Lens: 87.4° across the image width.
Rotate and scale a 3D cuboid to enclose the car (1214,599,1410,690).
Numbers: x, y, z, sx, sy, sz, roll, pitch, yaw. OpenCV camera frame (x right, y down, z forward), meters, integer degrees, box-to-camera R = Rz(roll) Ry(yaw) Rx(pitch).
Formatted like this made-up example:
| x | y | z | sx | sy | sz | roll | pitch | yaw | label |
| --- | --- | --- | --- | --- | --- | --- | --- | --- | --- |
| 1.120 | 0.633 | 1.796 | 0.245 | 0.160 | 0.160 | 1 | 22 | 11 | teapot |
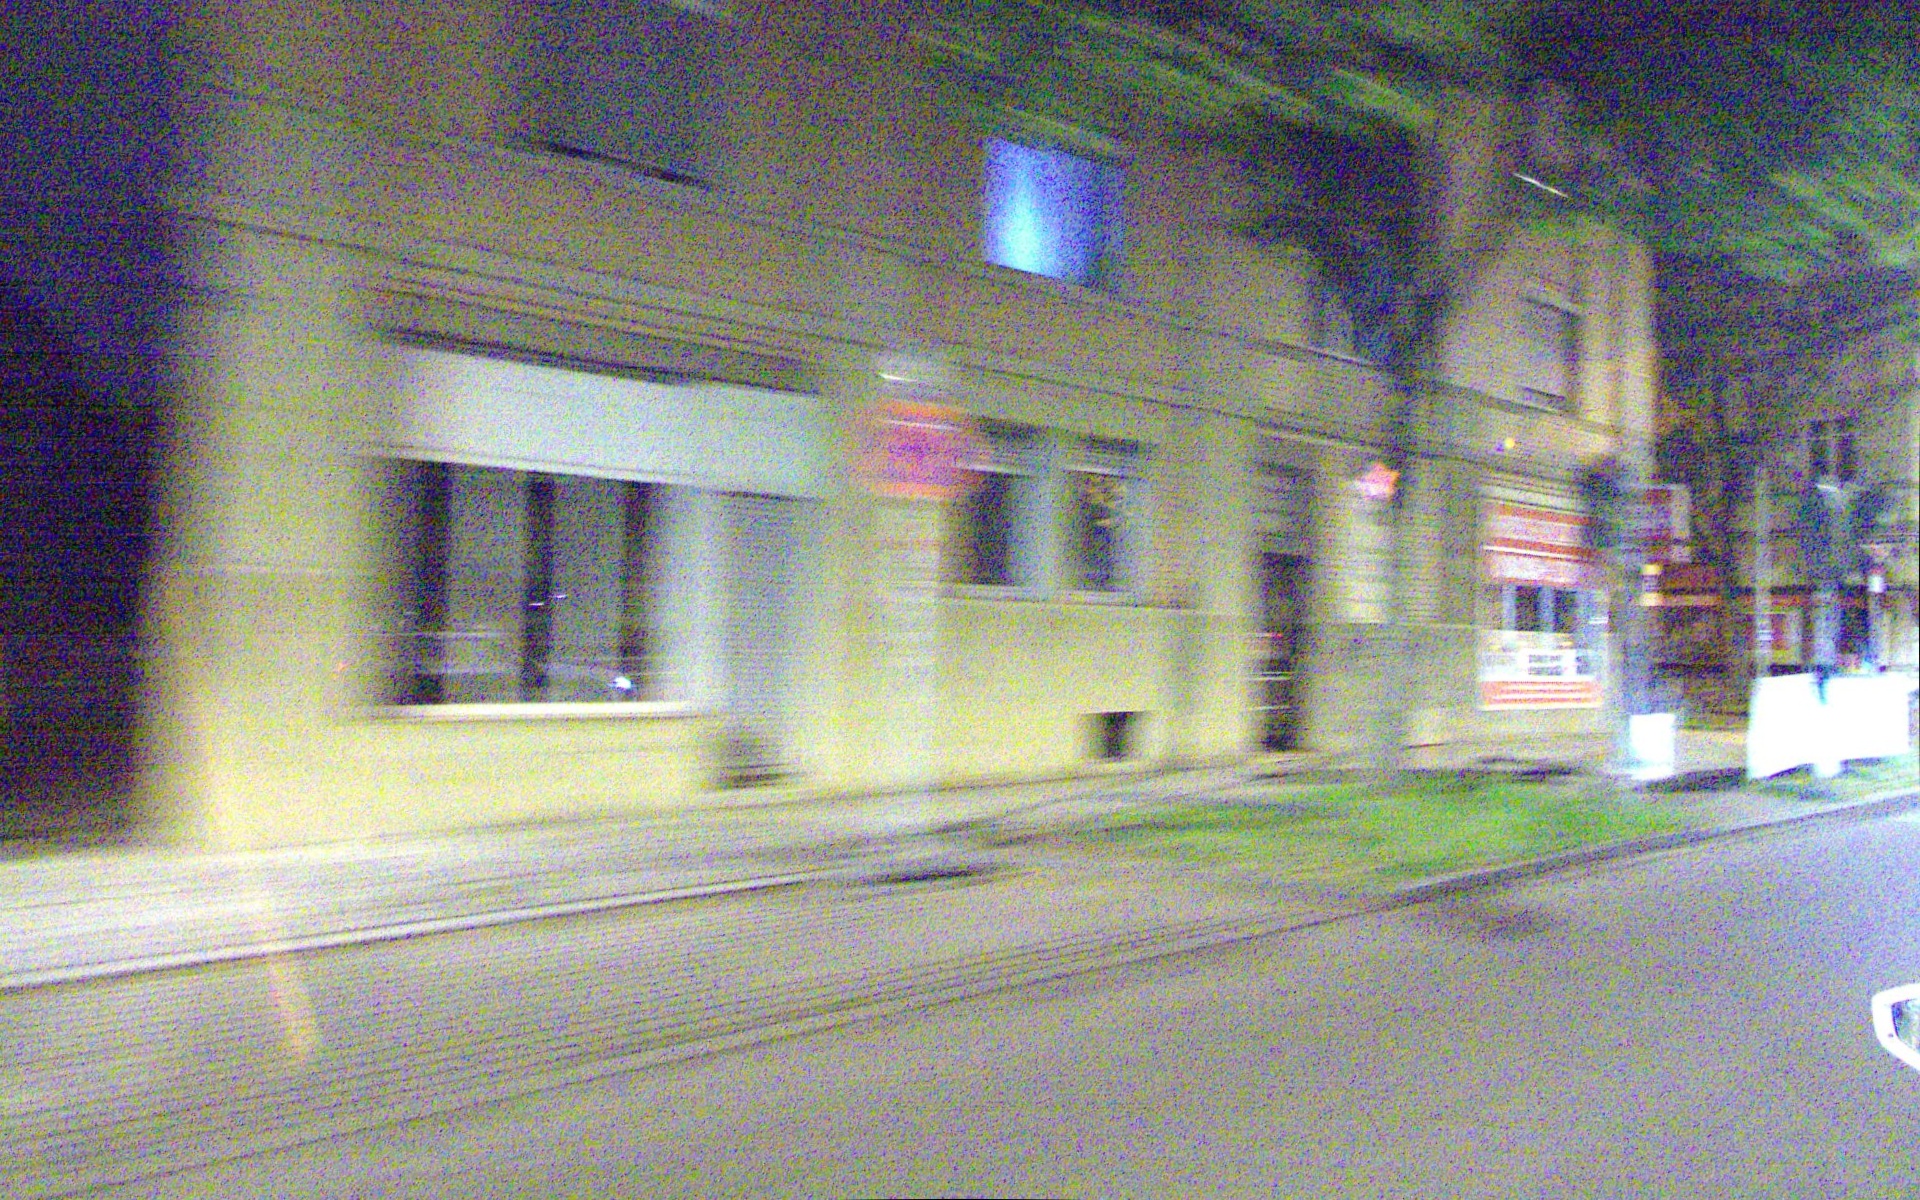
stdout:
| x | y | z | sx | sy | sz | roll | pitch | yaw | label |
| --- | --- | --- | --- | --- | --- | --- | --- | --- | --- |
| 11.099 | 1.390 | 32.219 | 2.222 | 2.577 | 5.816 | 4 | -3 | -31 | car |
